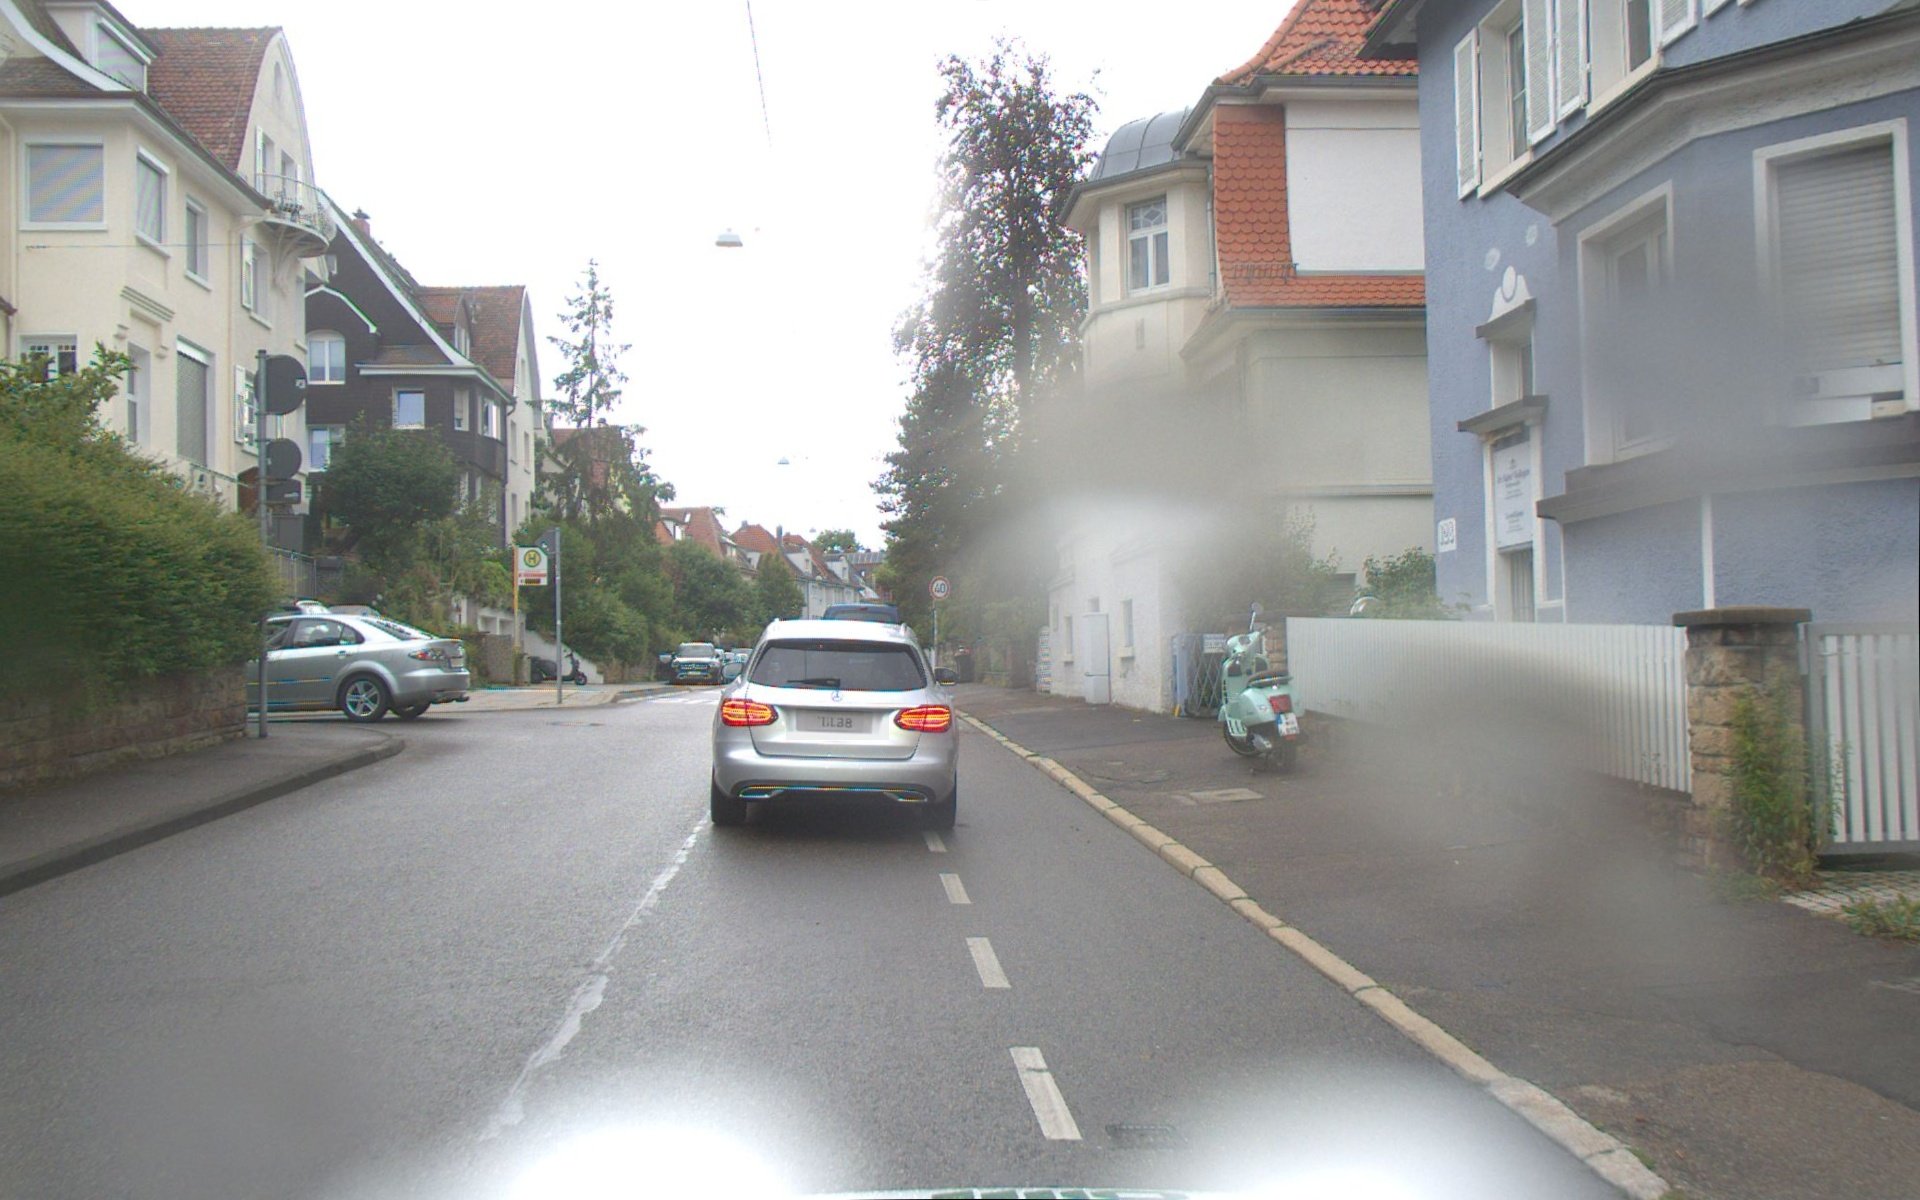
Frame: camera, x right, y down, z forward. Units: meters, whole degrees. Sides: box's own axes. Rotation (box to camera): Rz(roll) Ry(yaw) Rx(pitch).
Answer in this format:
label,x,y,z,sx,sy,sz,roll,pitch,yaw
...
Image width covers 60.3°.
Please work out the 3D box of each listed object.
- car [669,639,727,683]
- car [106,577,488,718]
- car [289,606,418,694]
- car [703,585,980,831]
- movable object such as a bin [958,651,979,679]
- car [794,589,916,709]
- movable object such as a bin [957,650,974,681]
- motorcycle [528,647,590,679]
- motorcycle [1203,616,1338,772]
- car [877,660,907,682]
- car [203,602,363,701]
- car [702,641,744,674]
label,x,y,z,sx,sy,sz,roll,pitch,yaw
car,-9.960,2.338,63.183,1.856,1.651,4.373,0,-2,-5
car,-8.761,0.632,22.125,4.276,1.584,1.822,3,-1,-1
car,-12.531,1.006,34.383,1.733,1.726,3.992,0,-1,-9
car,-0.904,0.740,12.759,1.780,1.584,3.996,1,-1,-4
movable object such as a bin,0.265,2.054,52.422,0.638,0.871,0.502,0,-1,-7
car,-1.740,0.900,28.684,1.805,1.937,3.999,0,-3,0
movable object such as a bin,0.167,2.103,53.000,0.484,0.972,0.502,0,-1,-7
motorcycle,-12.354,1.953,50.987,1.759,0.919,0.603,2,-3,-5
motorcycle,2.795,0.809,15.124,0.679,1.247,2.153,-7,-1,0
car,-6.814,7.189,166.477,1.790,2.092,5.012,0,-3,13
car,-12.001,0.876,29.582,1.733,1.646,3.992,0,-1,-9
car,-11.117,2.675,77.862,1.722,1.472,4.411,0,-1,-5
